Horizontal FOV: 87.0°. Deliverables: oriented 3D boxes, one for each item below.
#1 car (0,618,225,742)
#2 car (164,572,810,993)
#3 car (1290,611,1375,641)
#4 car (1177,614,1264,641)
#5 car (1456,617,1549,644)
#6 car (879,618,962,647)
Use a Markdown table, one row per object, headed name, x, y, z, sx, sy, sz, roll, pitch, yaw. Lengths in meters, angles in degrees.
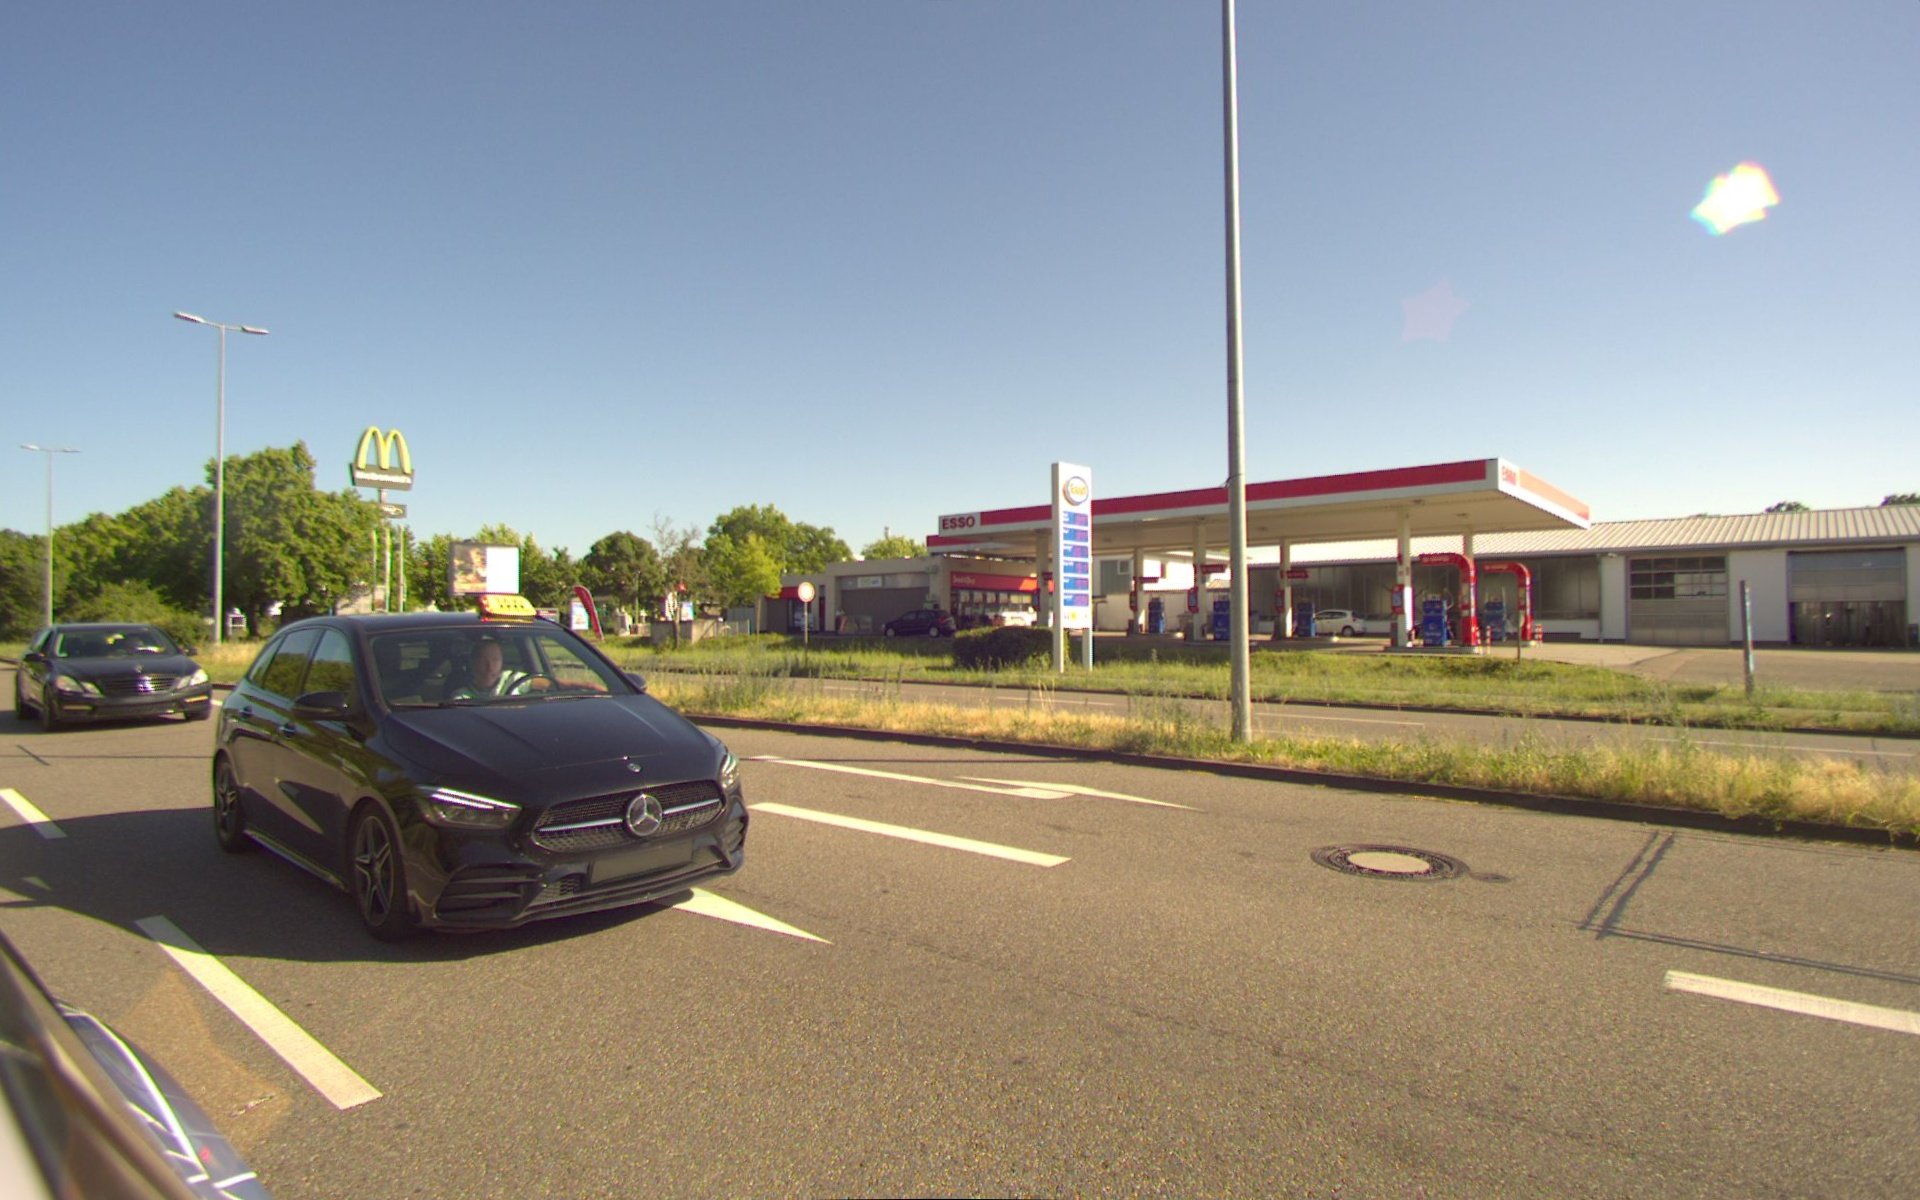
| name | x | y | z | sx | sy | sz | roll | pitch | yaw |
| --- | --- | --- | --- | --- | --- | --- | --- | --- | --- |
| car | -12.720 | 1.055 | 15.068 | 4.461 | 1.521 | 1.928 | -1 | 0 | 41 |
| car | -3.090 | 0.748 | 6.055 | 4.579 | 1.614 | 1.765 | -2 | -1 | 40 |
| car | 20.154 | 1.374 | 54.788 | 3.855 | 1.500 | 1.973 | -1 | 0 | 41 |
| car | 15.314 | 1.598 | 59.642 | 4.540 | 1.477 | 1.973 | -1 | 0 | 41 |
| car | 26.393 | 1.457 | 49.285 | 3.729 | 1.196 | 1.658 | -1 | 0 | 41 |
| car | -2.036 | 1.618 | 51.541 | 3.998 | 1.416 | 1.973 | -2 | -2 | 41 |
